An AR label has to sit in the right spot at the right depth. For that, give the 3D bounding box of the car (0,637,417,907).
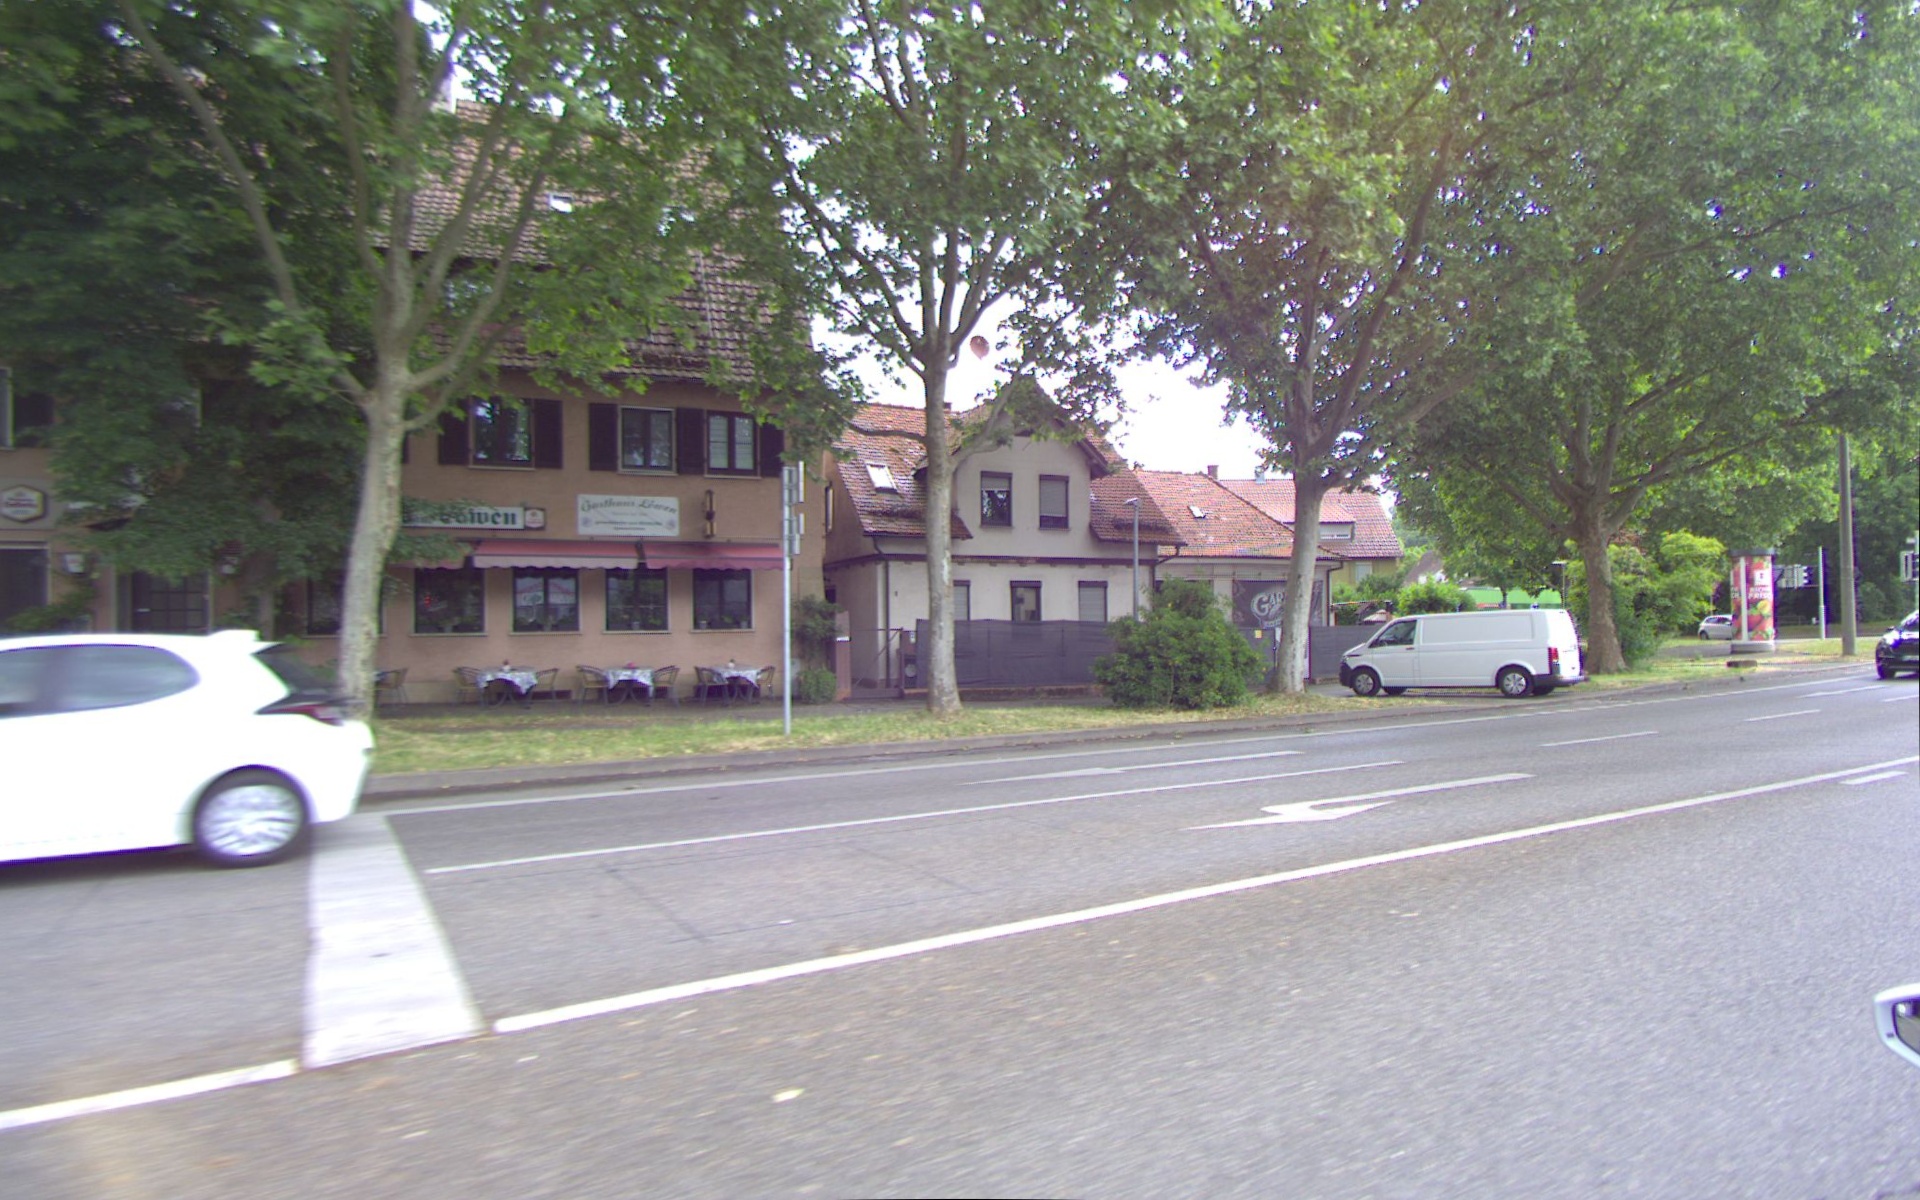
[{"bbox_3d":[-5.724,1.004,6.381,3.972,1.485,1.755,1,-3,-29],"label":"car"}]

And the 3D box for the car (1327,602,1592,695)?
[{"bbox_3d":[11.672,1.196,23.775,2.070,1.956,5.178,1,-4,-43],"label":"car"}]

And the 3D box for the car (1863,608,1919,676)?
[{"bbox_3d":[24.651,0.979,25.171,4.365,1.607,1.788,-1,-3,-32],"label":"car"}]

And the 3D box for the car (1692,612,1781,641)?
[{"bbox_3d":[42.453,1.425,55.000,1.790,1.499,3.854,-1,-1,-2],"label":"car"}]
